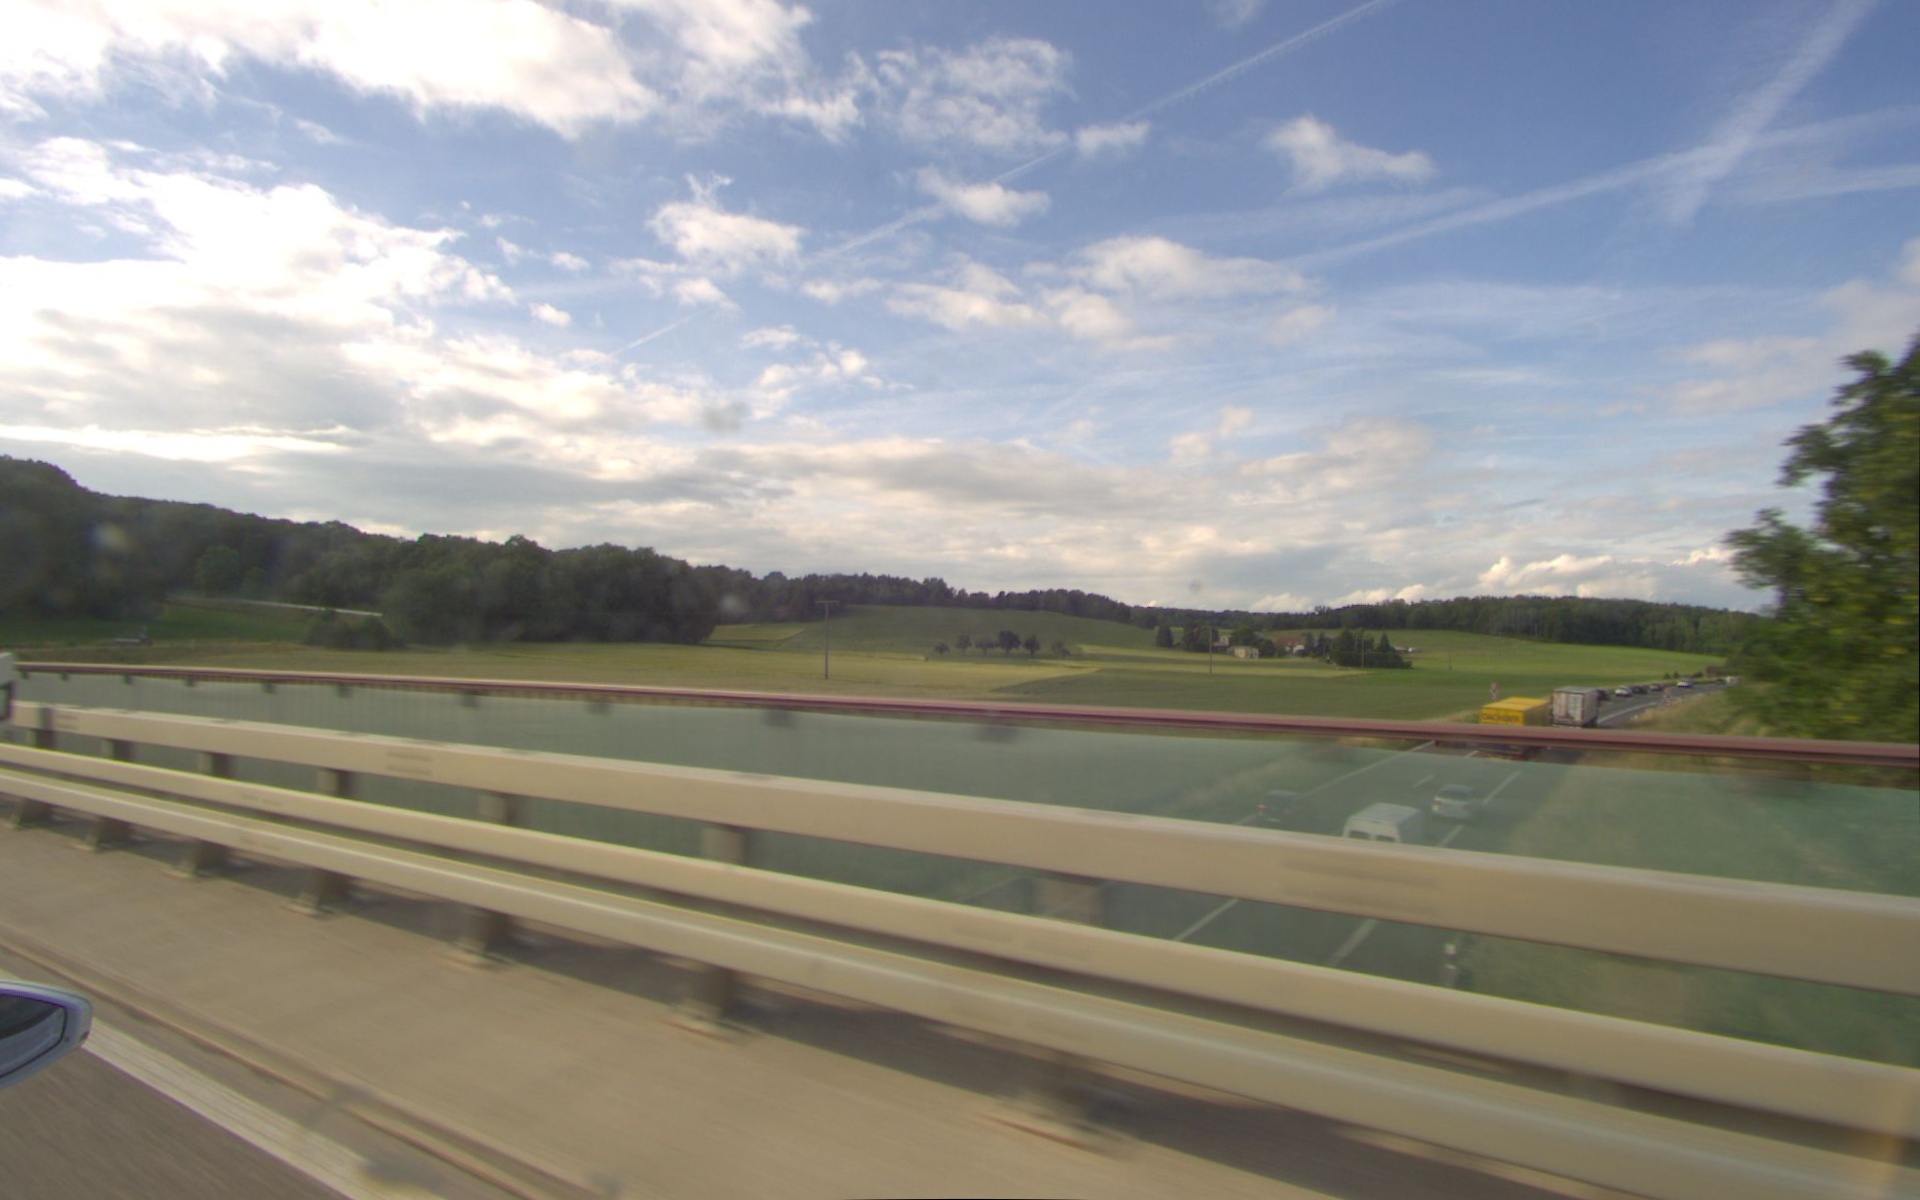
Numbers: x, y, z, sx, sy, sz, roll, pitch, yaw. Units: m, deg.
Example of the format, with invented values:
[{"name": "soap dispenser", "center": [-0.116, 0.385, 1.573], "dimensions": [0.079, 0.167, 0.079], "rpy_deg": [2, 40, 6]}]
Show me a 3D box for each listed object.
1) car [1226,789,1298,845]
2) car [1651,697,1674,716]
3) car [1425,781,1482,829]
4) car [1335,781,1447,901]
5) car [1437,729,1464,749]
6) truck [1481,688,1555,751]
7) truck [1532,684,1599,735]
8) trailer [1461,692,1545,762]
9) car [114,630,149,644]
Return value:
[{"name": "car", "center": [12.025, 8.558, 39.734], "dimensions": [1.659, 1.538, 3.980], "rpy_deg": [0, -3, 34]}, {"name": "car", "center": [84.742, 12.827, 120.801], "dimensions": [1.977, 2.037, 3.973], "rpy_deg": [-6, -5, 37]}, {"name": "car", "center": [23.106, 9.532, 46.821], "dimensions": [1.779, 1.488, 3.978], "rpy_deg": [2, -2, 35]}, {"name": "car", "center": [15.021, 8.152, 34.637], "dimensions": [2.339, 2.619, 6.089], "rpy_deg": [5, 1, 34]}, {"name": "car", "center": [37.753, 10.704, 77.092], "dimensions": [1.360, 1.283, 3.081], "rpy_deg": [0, -3, 36]}, {"name": "truck", "center": [42.147, 8.835, 75.417], "dimensions": [3.788, 4.109, 9.746], "rpy_deg": [-3, -4, 35]}, {"name": "truck", "center": [59.029, 10.489, 97.335], "dimensions": [4.030, 4.044, 14.334], "rpy_deg": [-5, -5, 36]}, {"name": "trailer", "center": [36.893, 8.441, 67.870], "dimensions": [3.789, 4.109, 9.076], "rpy_deg": [-3, -4, 35]}, {"name": "car", "center": [-122.958, 5.496, 148.699], "dimensions": [1.961, 1.793, 4.005], "rpy_deg": [0, -4, -3]}]
